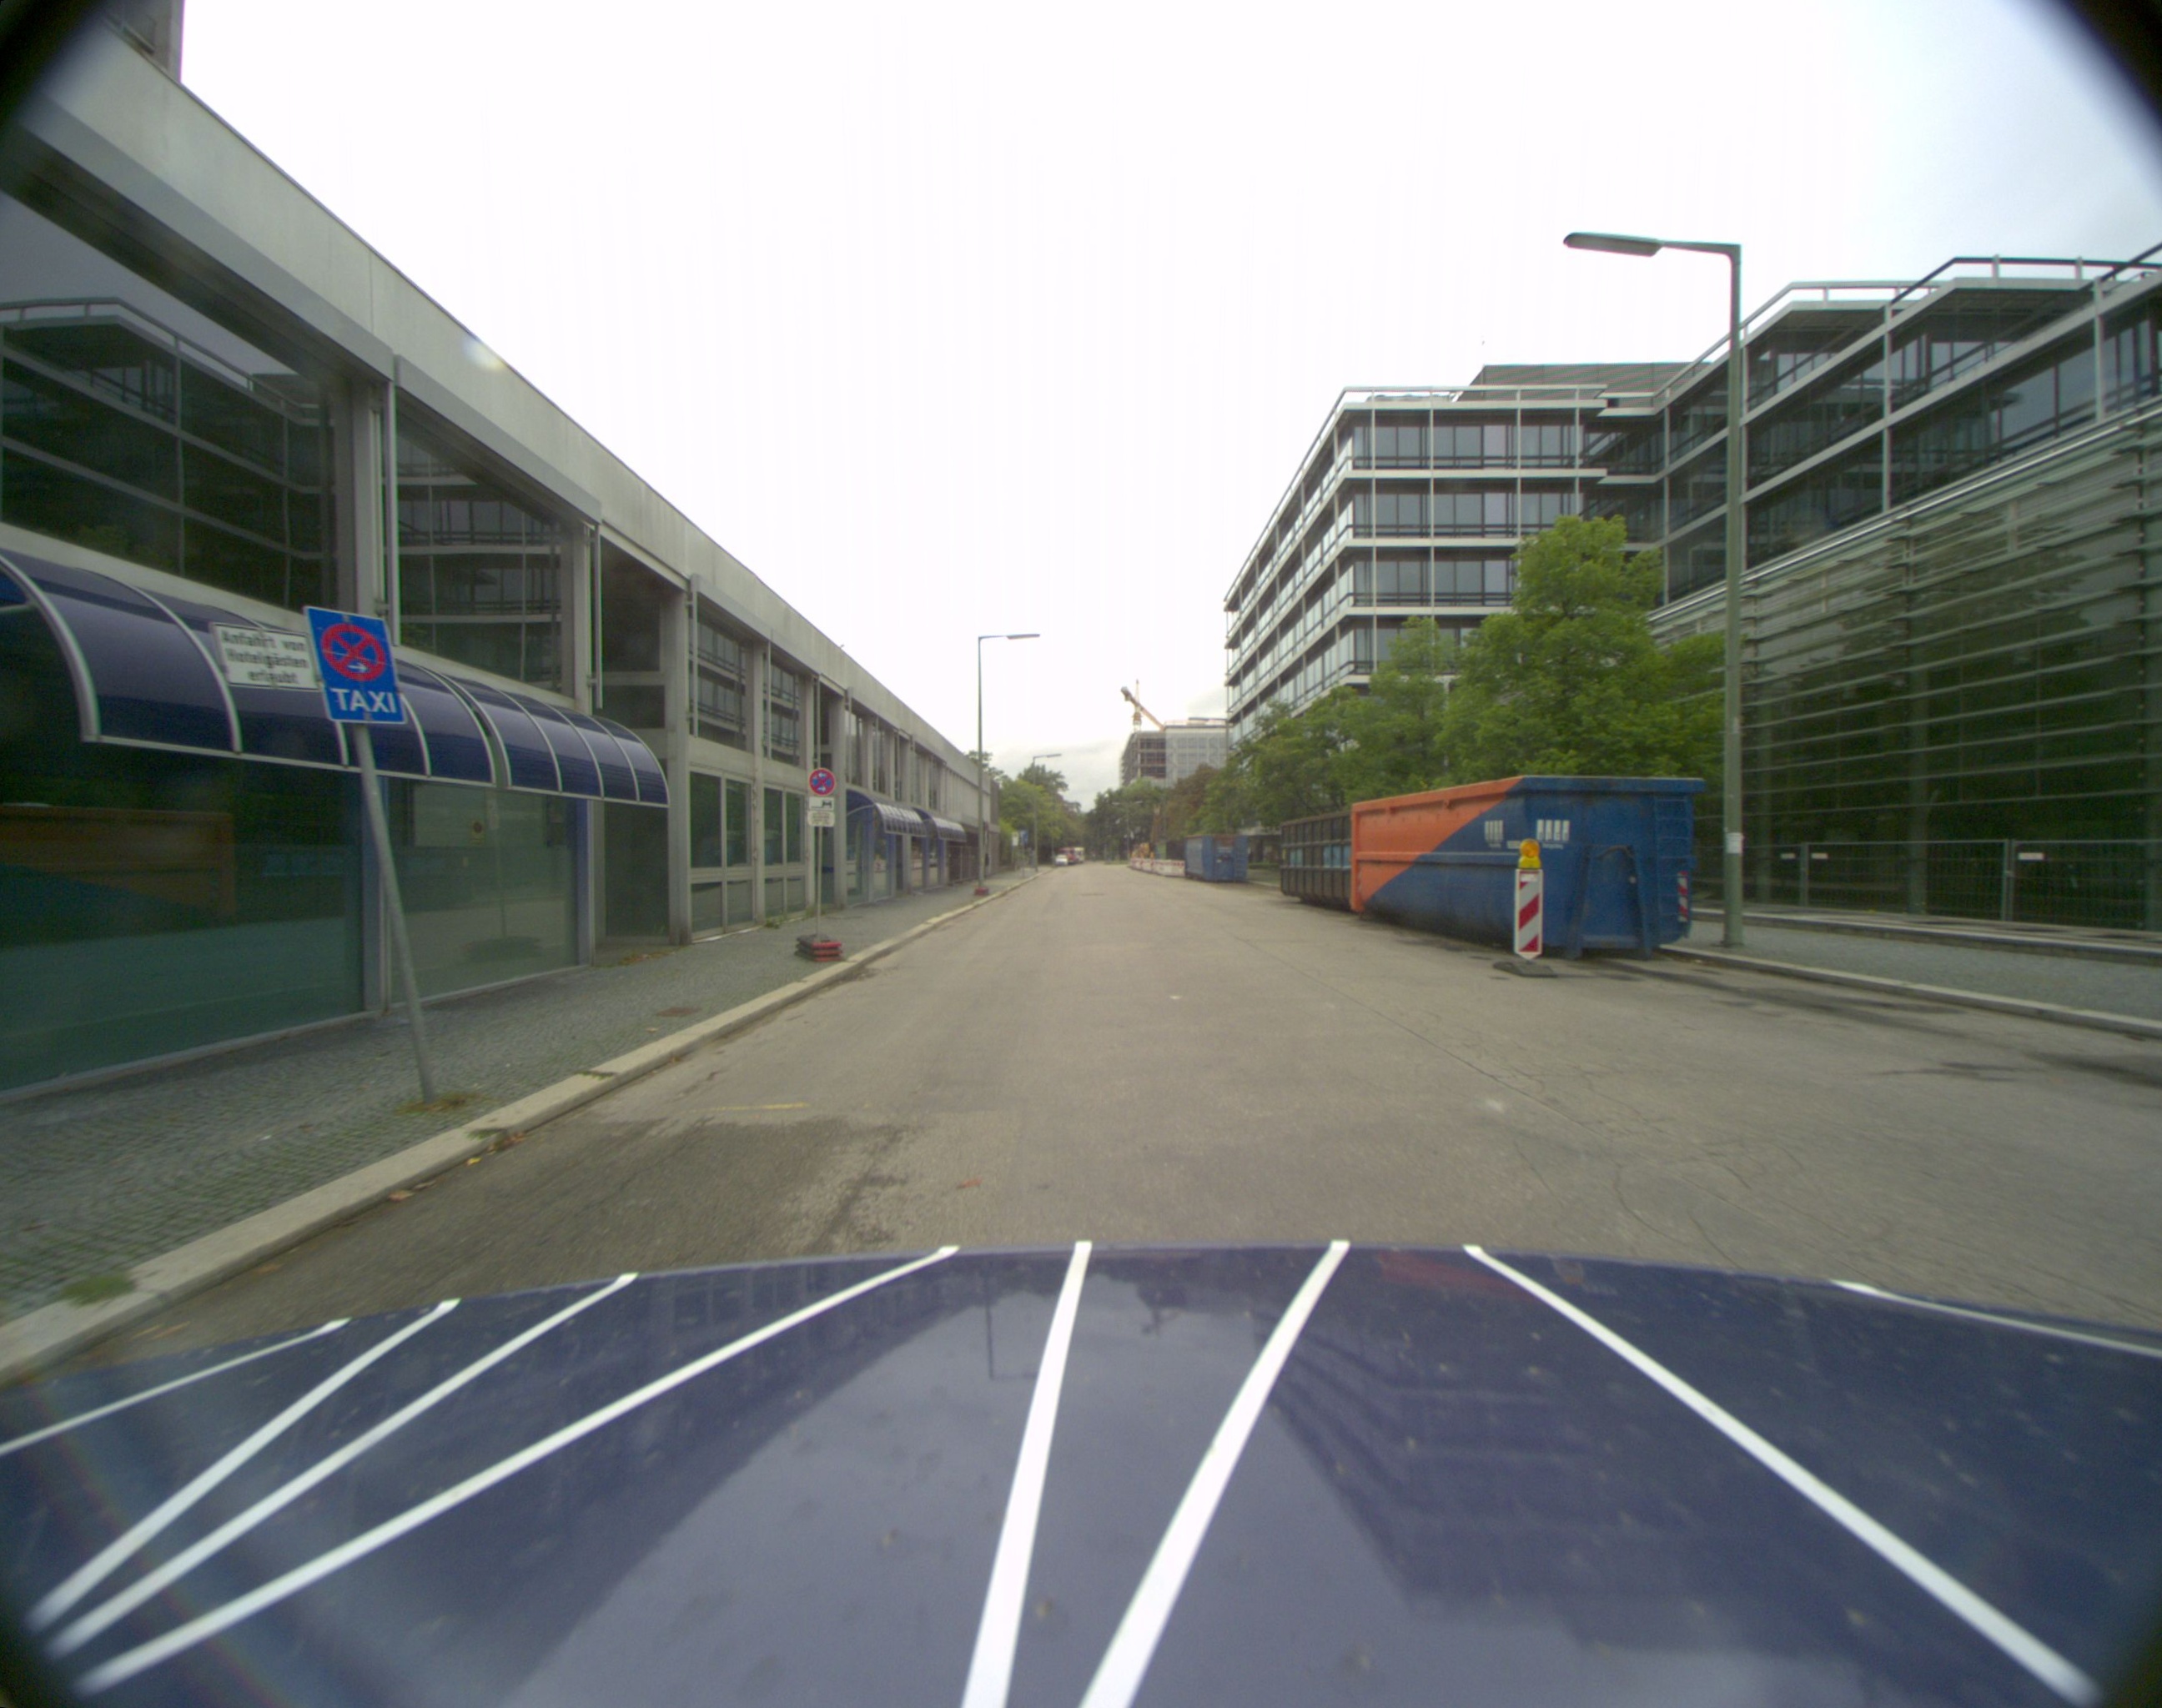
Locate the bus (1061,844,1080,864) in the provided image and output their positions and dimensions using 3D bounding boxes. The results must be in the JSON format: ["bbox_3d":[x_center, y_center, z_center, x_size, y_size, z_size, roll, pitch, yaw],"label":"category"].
[{"bbox_3d":[-1.459,-0.017,109.871,2.077,2.789,6.274,0,0,5],"label":"bus"}]

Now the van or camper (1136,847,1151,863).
[{"bbox_3d":[8.702,0.142,106.444,1.993,2.022,5.588,1,0,4],"label":"van or camper"}]

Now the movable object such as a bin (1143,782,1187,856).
[{"bbox_3d":[7.917,-3.179,73.465,2.911,6.526,11.782,0,1,0],"label":"movable object such as a bin"}]

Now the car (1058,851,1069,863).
[{"bbox_3d":[-2.394,0.366,102.981,1.536,1.483,4.059,0,1,-2],"label":"car"}]

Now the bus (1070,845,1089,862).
[{"bbox_3d":[-0.248,-0.119,123.768,2.076,2.714,5.871,0,0,9],"label":"bus"}]
